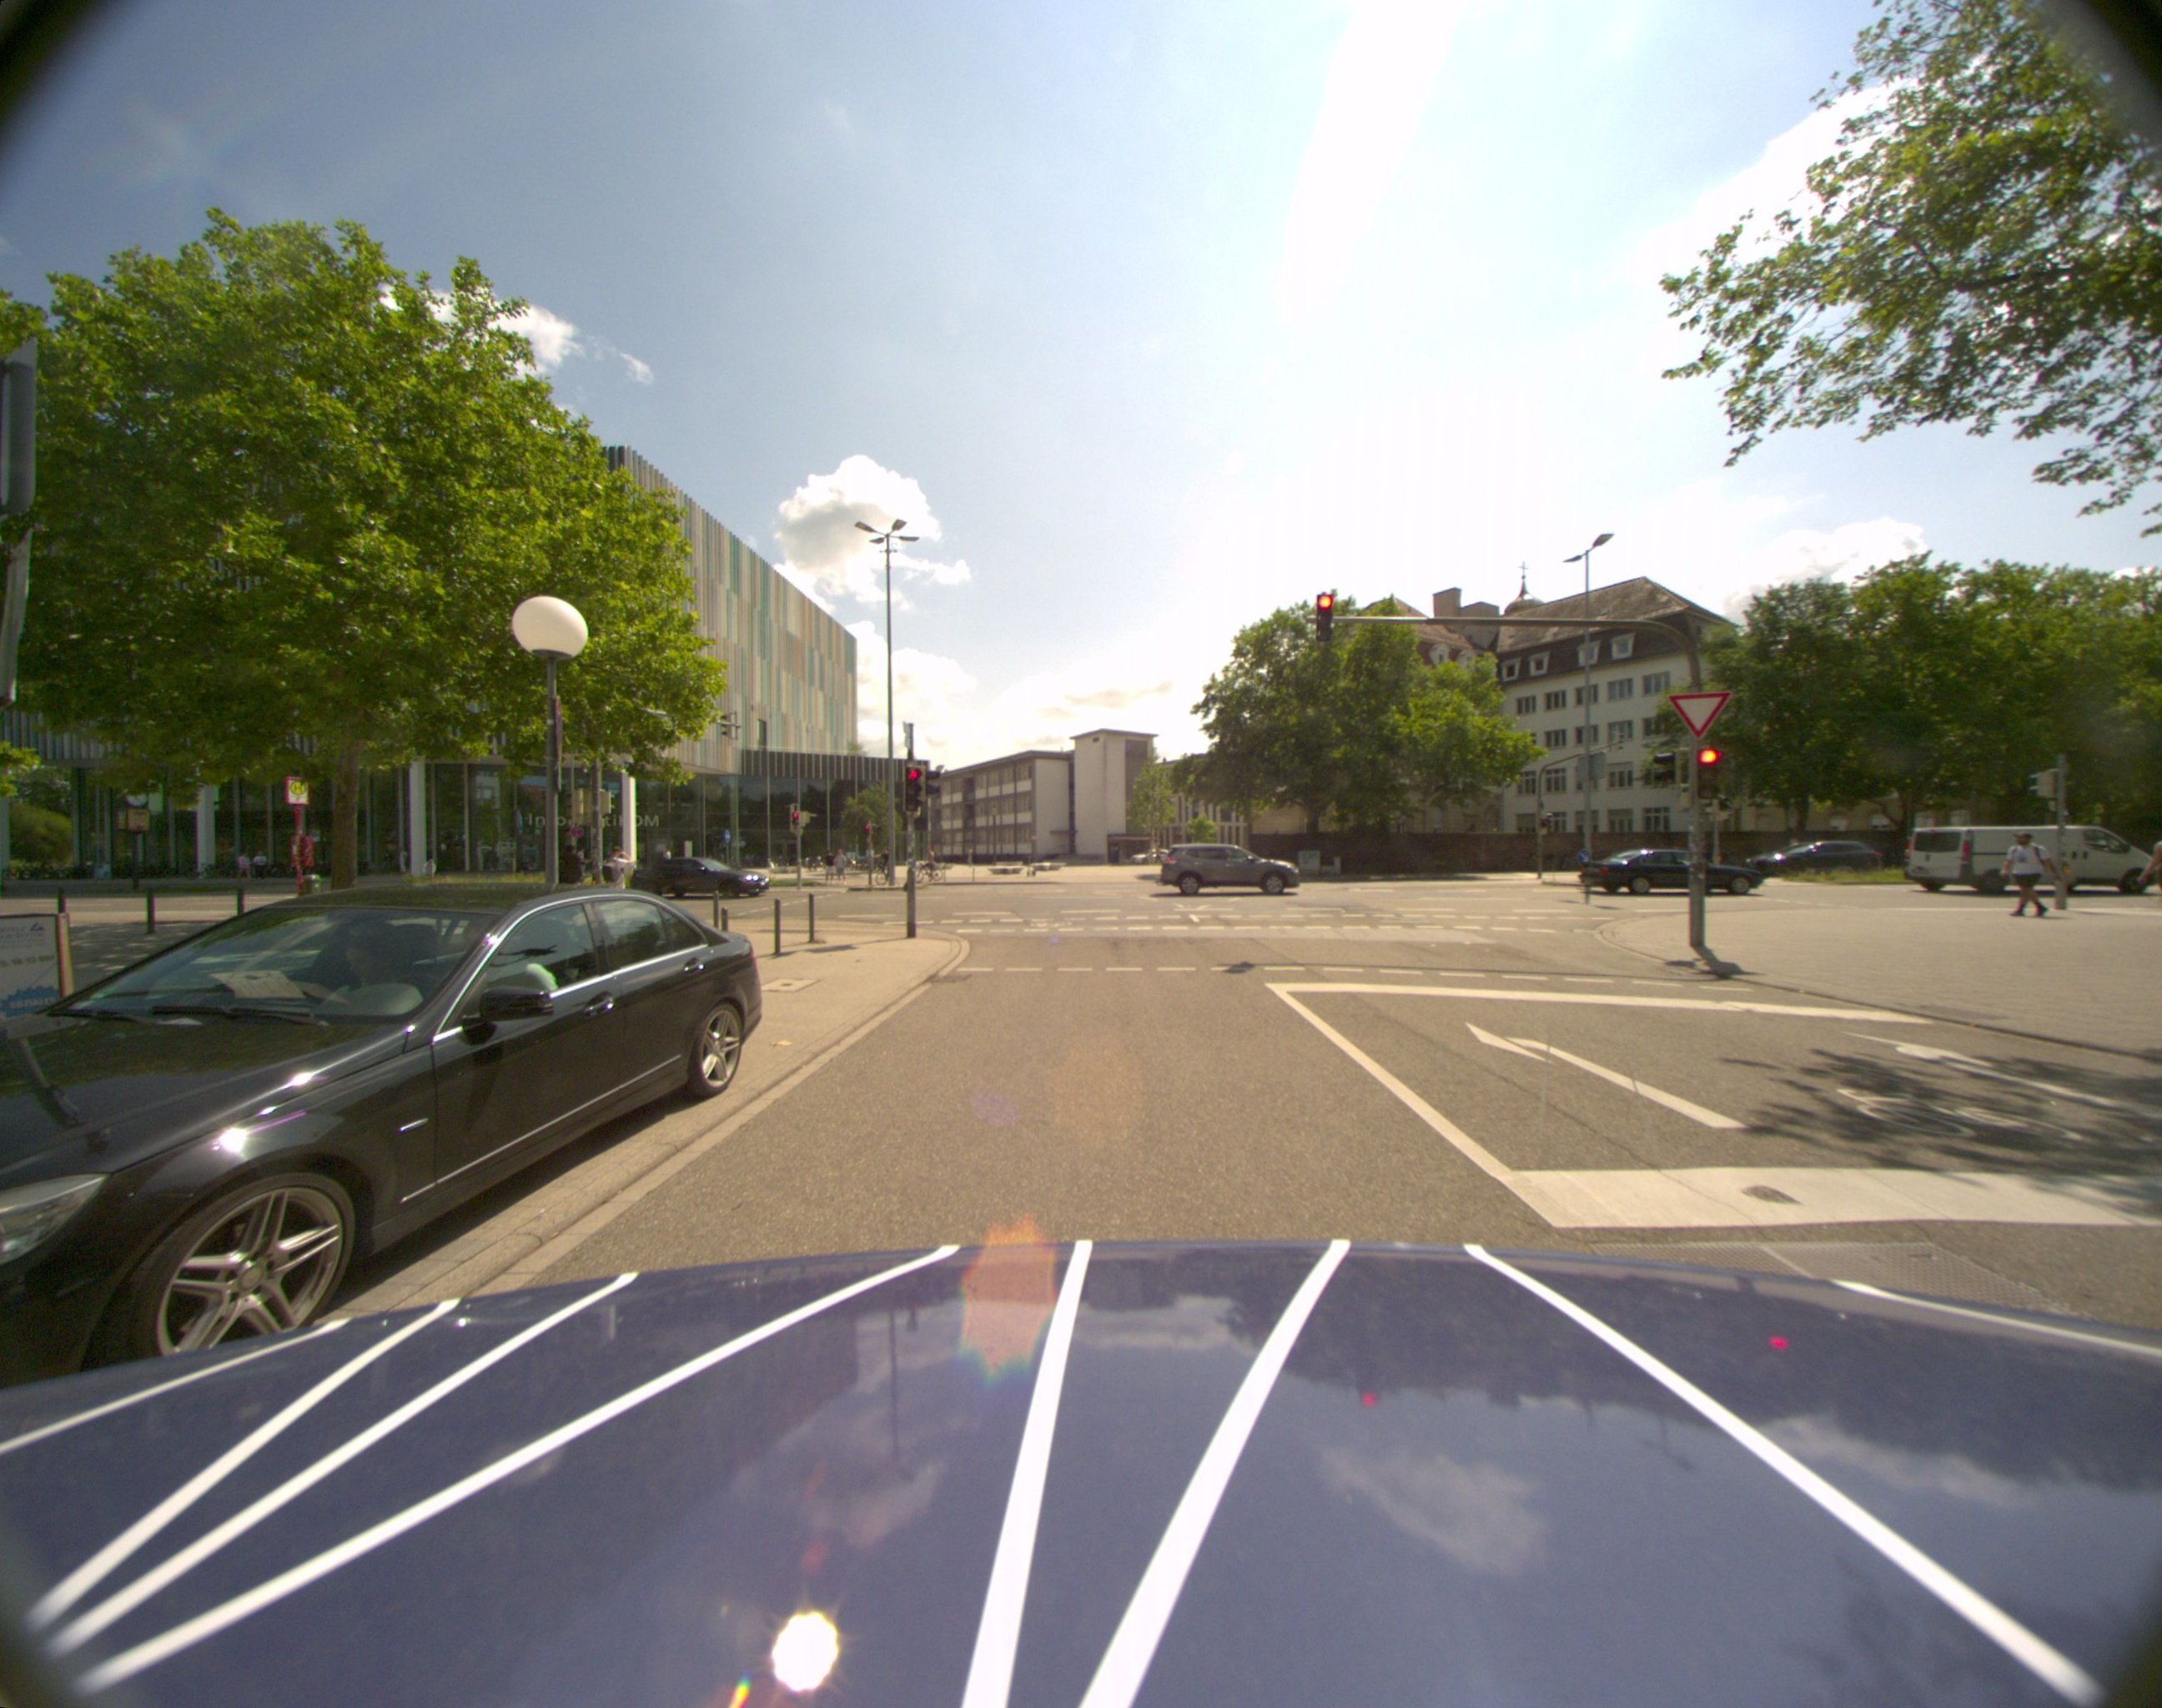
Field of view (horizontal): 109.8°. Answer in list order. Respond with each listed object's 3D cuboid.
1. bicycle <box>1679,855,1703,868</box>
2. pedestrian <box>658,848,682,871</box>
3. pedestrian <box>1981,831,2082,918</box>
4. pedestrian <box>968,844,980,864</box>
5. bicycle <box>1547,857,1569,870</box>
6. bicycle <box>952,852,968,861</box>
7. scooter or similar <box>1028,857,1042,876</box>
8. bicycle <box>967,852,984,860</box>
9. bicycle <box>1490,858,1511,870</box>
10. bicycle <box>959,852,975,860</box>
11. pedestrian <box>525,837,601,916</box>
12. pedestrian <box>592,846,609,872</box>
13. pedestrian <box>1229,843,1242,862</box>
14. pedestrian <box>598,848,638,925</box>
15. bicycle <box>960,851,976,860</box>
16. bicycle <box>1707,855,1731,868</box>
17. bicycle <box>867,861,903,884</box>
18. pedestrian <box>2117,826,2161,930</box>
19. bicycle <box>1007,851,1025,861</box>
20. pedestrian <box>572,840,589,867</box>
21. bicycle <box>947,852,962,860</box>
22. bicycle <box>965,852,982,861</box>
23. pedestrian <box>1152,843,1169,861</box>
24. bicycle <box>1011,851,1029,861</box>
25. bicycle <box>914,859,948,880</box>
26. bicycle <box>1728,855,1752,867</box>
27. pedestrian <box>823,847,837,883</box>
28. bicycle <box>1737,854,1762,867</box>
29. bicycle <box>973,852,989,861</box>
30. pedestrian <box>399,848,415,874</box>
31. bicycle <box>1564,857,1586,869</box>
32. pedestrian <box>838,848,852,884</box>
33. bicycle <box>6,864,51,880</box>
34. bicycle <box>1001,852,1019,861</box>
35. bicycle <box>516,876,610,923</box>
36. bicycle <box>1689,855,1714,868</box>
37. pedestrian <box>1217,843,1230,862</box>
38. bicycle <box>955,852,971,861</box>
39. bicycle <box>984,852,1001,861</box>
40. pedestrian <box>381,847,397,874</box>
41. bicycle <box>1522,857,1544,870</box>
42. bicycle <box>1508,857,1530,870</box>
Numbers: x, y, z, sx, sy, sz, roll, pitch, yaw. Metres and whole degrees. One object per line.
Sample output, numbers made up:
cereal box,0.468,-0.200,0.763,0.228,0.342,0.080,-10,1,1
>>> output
bicycle,35.462,0.436,44.149,0.409,0.678,1.004,-2,3,-36
pedestrian,-29.727,0.417,54.926,1.014,1.641,1.183,-1,1,3
pedestrian,18.984,0.410,15.203,0.930,1.690,0.854,0,0,5
pedestrian,-9.374,0.000,66.515,0.845,1.779,0.676,-1,1,-28
bicycle,27.363,0.532,43.610,0.409,0.678,1.005,-2,3,-23
bicycle,-14.215,0.269,89.599,1.776,0.950,0.528,-1,3,-26
scooter or similar,-2.689,0.708,44.392,0.403,1.060,1.149,-1,1,-25
bicycle,-11.827,0.225,85.320,1.776,0.950,0.528,-1,3,-26
bicycle,23.934,0.564,43.354,0.409,0.678,1.005,-2,3,-23
bicycle,-13.193,0.251,88.079,1.776,0.950,0.528,-1,3,-26
pedestrian,-12.399,0.545,18.241,0.855,1.808,1.177,2,-3,5
pedestrian,-33.805,0.351,53.451,0.677,1.832,0.691,0,2,10
pedestrian,14.668,-0.126,72.194,0.863,1.779,0.845,0,1,35
pedestrian,-11.121,0.775,18.248,0.594,1.789,0.612,-1,-1,34
bicycle,-12.991,0.192,87.444,1.776,0.950,0.528,-1,3,-26
bicycle,37.090,0.420,44.171,0.409,0.678,1.004,-2,3,-36
bicycle,-10.213,0.951,39.561,1.673,1.118,0.694,-1,1,-26
pedestrian,17.406,0.364,11.953,1.020,1.617,0.857,-2,0,-3
bicycle,-6.672,0.222,78.146,1.776,0.950,0.528,-1,3,-26
pedestrian,-34.201,-0.042,51.950,0.516,1.832,0.790,1,3,37
bicycle,-15.182,0.282,91.261,1.776,0.950,0.528,-1,3,-26
bicycle,-12.163,0.256,86.150,1.776,0.950,0.528,-1,3,-26
pedestrian,7.051,-0.185,67.439,1.297,1.641,1.327,-1,1,15
bicycle,-6.235,0.203,77.262,1.776,0.950,0.528,-1,3,-26
bicycle,-8.086,0.826,40.915,1.673,1.118,0.694,-1,1,-23
bicycle,38.385,0.404,44.270,0.409,0.678,1.004,-2,3,-36
pedestrian,-13.121,0.560,39.721,0.633,1.832,0.479,-1,2,-12
bicycle,39.141,0.376,44.513,0.409,0.678,1.004,-2,3,-36
bicycle,-11.084,0.243,84.241,1.776,0.950,0.528,-1,3,-26
pedestrian,-46.859,0.490,52.860,0.554,1.832,0.561,-1,2,-5
bicycle,28.544,0.511,43.878,0.409,0.678,1.005,-2,3,-23
pedestrian,-12.319,0.612,39.606,0.575,1.832,0.415,-1,2,-3
bicycle,-71.815,1.213,51.855,0.433,0.950,1.785,-1,2,2
bicycle,-7.399,0.234,79.233,1.776,0.950,0.528,-1,3,-26
bicycle,-12.411,1.075,18.297,0.817,1.066,1.893,0,-2,5
bicycle,36.084,0.428,44.193,0.409,0.678,1.004,-2,3,-36
pedestrian,13.665,-0.149,72.846,0.890,1.779,0.845,0,1,40
bicycle,-13.924,0.302,89.577,1.776,0.950,0.528,-1,3,-26
bicycle,-9.572,0.244,82.213,1.776,0.950,0.528,-1,3,-26
pedestrian,-48.457,0.439,53.233,0.554,1.832,0.561,-1,2,-5
bicycle,25.970,0.544,43.647,0.409,0.678,1.005,-2,3,-23
bicycle,25.090,0.557,43.522,0.409,0.678,1.005,-2,3,-23
